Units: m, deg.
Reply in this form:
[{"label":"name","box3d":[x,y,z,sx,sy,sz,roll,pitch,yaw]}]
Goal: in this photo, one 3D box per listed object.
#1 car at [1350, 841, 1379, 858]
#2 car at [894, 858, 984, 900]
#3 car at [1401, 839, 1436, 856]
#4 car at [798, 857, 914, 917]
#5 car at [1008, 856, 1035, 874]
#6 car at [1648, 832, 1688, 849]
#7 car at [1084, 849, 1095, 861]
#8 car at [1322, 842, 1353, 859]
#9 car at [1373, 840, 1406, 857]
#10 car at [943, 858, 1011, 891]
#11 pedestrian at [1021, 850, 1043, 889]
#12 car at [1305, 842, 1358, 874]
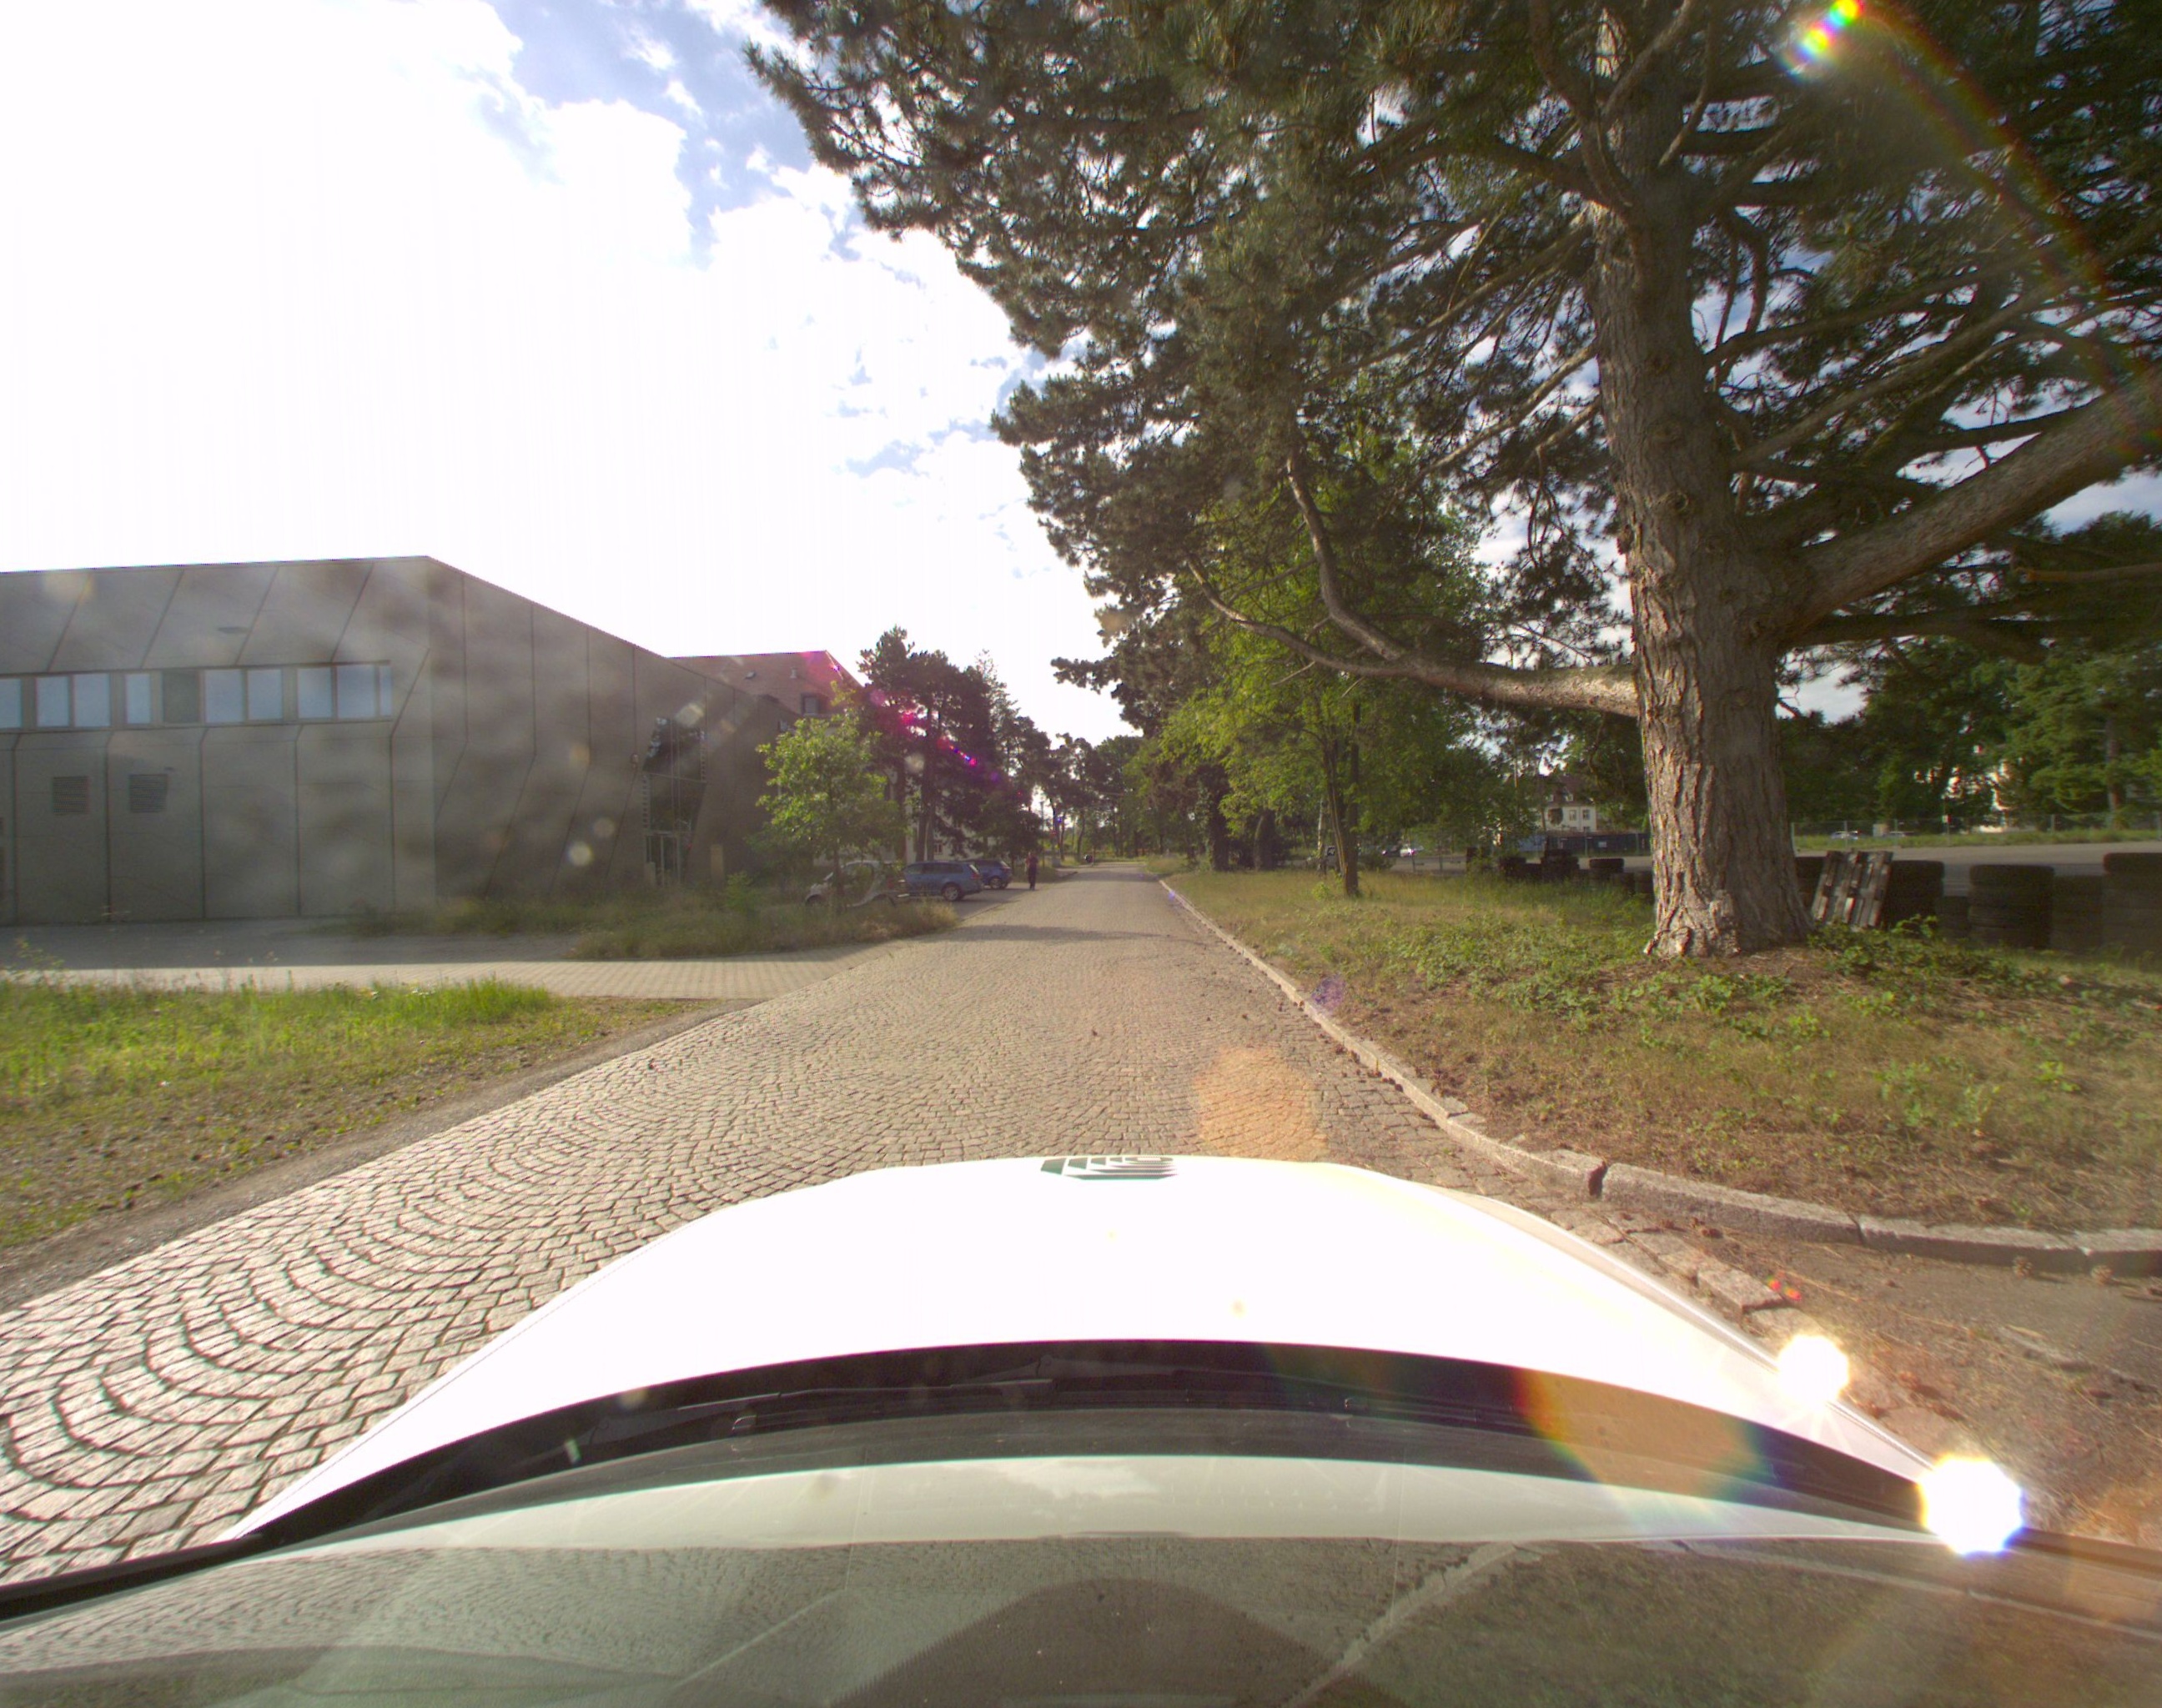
[{"label":"car","box3d":[28.116,-0.432,80.851,1.812,1.618,4.006,-2,0,5]},{"label":"car","box3d":[-5.204,0.909,30.078,3.075,1.457,1.491,0,0,-2]},{"label":"car","box3d":[33.586,-0.631,81.200,1.985,1.618,4.004,-2,0,3]},{"label":"car","box3d":[-6.252,0.901,22.790,2.745,1.549,1.428,-2,0,7]},{"label":"car","box3d":[-5.736,1.037,78.586,1.985,1.618,4.004,-2,0,3]},{"label":"car","box3d":[65.352,-1.519,90.714,1.982,1.750,4.009,-2,0,8]},{"label":"car","box3d":[1.576,0.180,145.578,1.690,2.013,4.004,-2,0,3]},{"label":"car","box3d":[25.419,-0.350,80.713,1.985,1.618,4.004,-2,0,3]},{"label":"car","box3d":[30.650,-0.549,81.025,1.985,1.618,4.004,-2,0,3]},{"label":"car","box3d":[-5.010,0.960,39.479,3.077,1.450,1.490,-2,0,-3]},{"label":"pedestrian","box3d":[-2.333,0.742,39.089,0.953,1.844,0.955,-2,0,-1]},{"label":"car","box3d":[13.386,0.201,43.758,1.878,1.541,4.005,-2,0,4]}]
